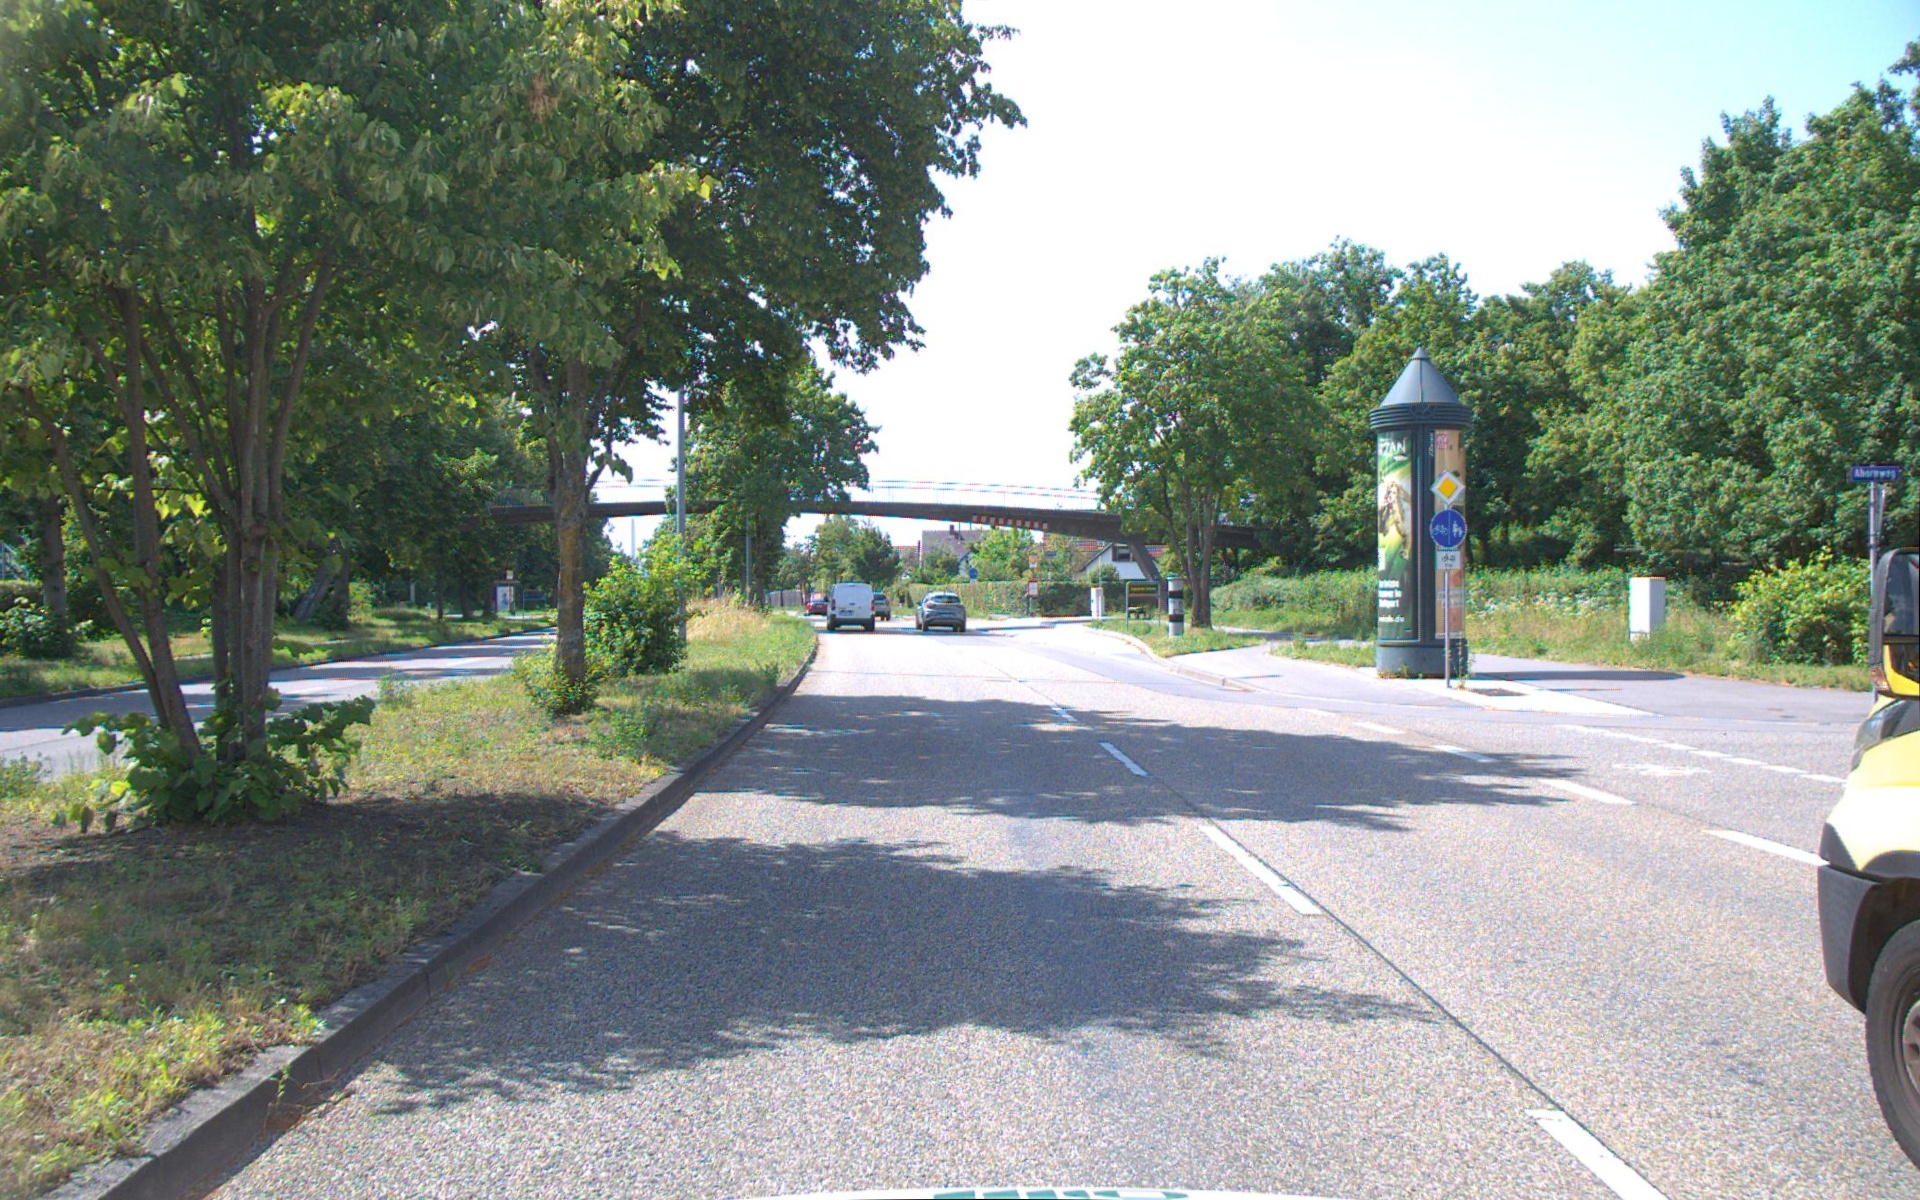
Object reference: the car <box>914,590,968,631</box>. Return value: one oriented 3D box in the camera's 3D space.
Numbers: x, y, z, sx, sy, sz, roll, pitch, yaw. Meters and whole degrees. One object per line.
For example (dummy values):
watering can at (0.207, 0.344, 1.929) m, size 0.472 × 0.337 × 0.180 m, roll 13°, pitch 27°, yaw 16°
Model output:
car at (-0.812, 0.415, 67.035) m, size 1.839 × 1.617 × 4.179 m, roll 0°, pitch 0°, yaw -6°

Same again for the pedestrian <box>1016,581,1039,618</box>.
pedestrian at (3.494, -0.026, 85.444) m, size 0.936 × 1.856 × 1.085 m, roll -2°, pitch -2°, yaw -8°

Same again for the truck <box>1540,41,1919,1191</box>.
truck at (3.617, 0.058, 2.685) m, size 2.219 × 2.931 × 8.024 m, roll 1°, pitch 0°, yaw -2°

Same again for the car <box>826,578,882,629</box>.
car at (-4.218, 0.138, 65.033) m, size 2.026 × 1.945 × 4.640 m, roll 0°, pitch 0°, yaw -6°

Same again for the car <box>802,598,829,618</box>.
car at (-11.789, 0.626, 134.859) m, size 1.846 × 1.615 × 3.989 m, roll 0°, pitch 0°, yaw -11°

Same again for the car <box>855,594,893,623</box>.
car at (-5.125, 0.503, 98.275) m, size 1.840 × 1.681 × 3.992 m, roll 0°, pitch 0°, yaw -9°
